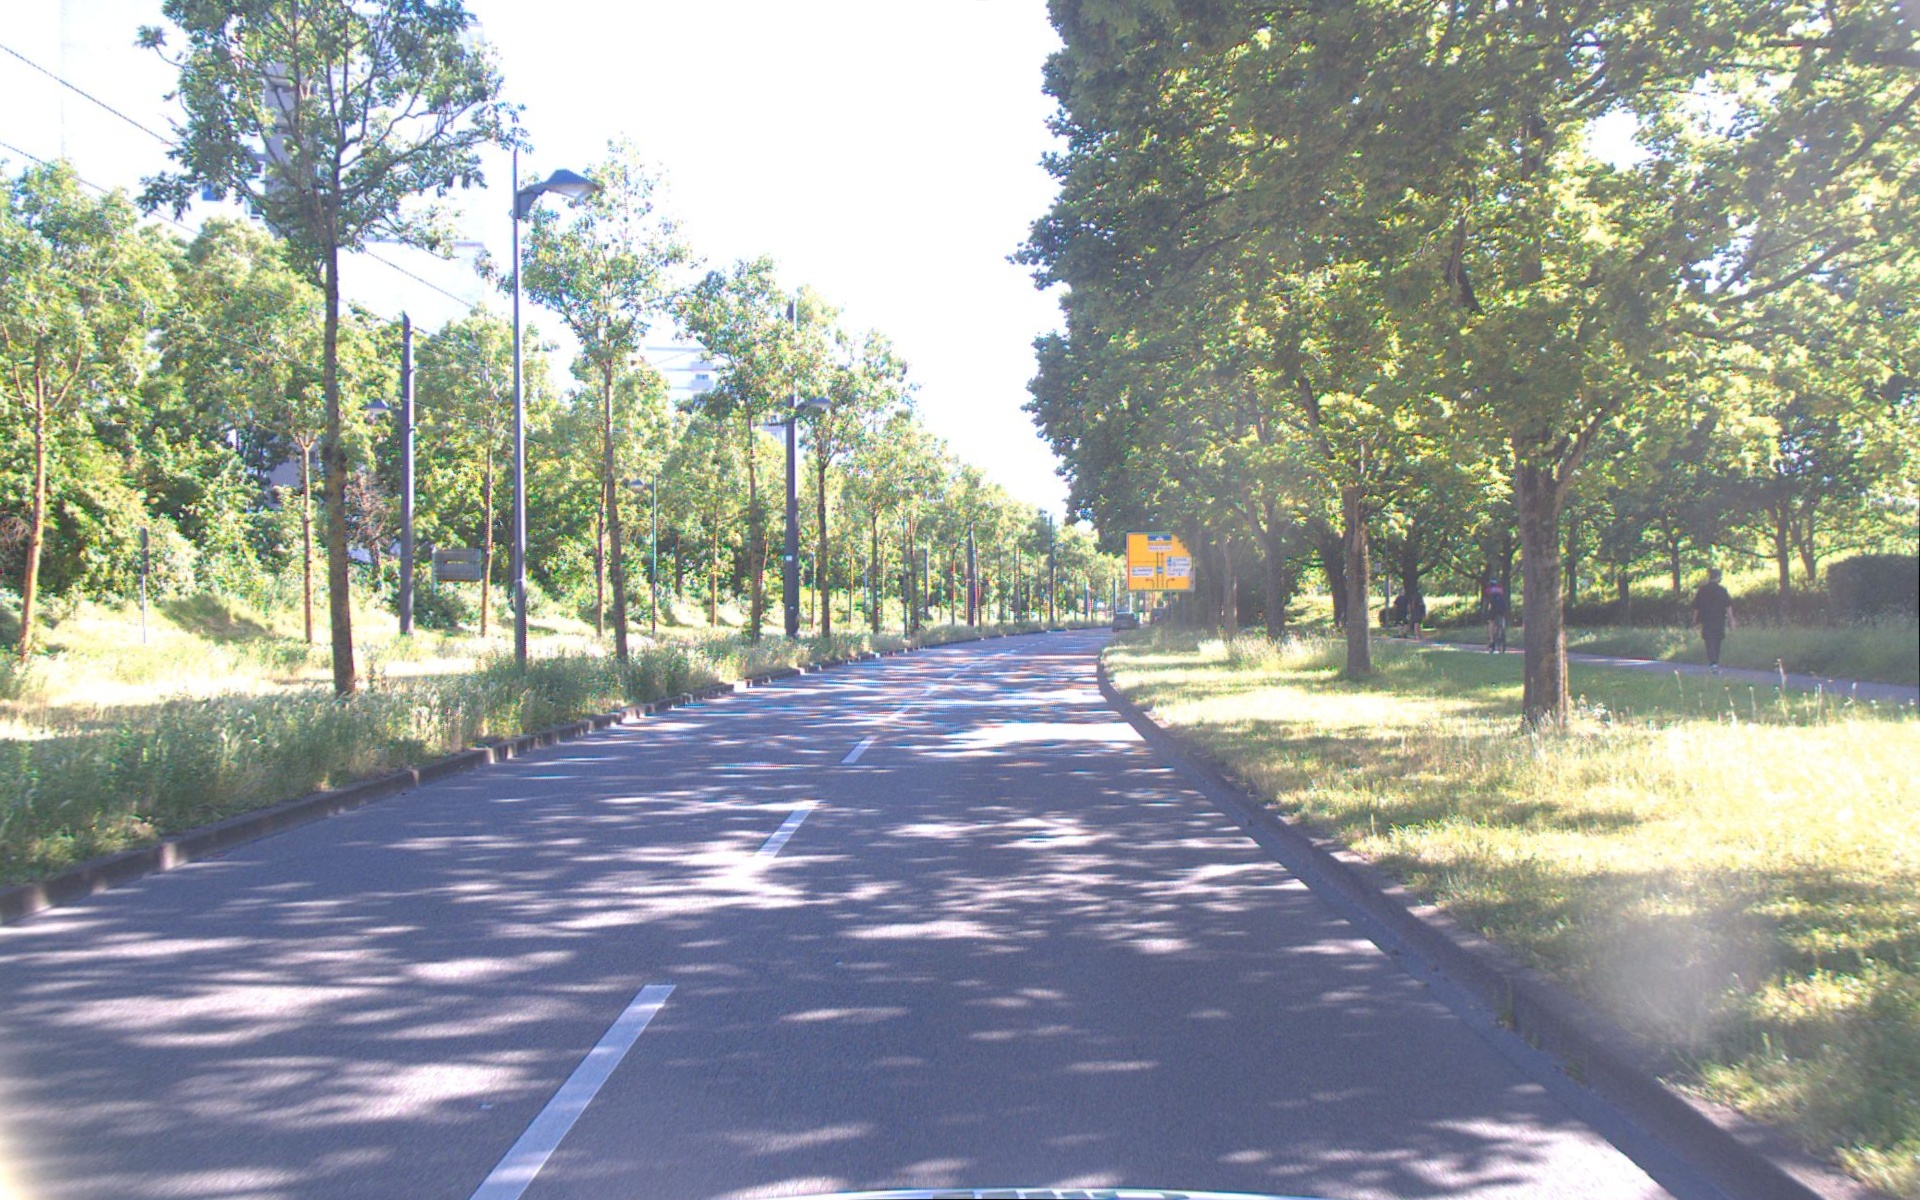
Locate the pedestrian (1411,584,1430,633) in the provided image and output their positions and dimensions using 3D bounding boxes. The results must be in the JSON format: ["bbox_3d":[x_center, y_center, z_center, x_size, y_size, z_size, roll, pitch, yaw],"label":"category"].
[{"bbox_3d":[16.437,0.288,58.977,0.622,1.721,0.844,-1,-1,16],"label":"pedestrian"}]

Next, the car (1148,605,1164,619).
[{"bbox_3d":[20.551,1.258,173.204,1.599,1.524,4.238,0,0,8],"label":"car"}]

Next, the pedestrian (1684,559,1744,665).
[{"bbox_3d":[13.156,0.208,28.874,0.700,1.835,0.794,0,0,3],"label":"pedestrian"}]

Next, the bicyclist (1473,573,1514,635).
[{"bbox_3d":[12.867,0.091,39.876,0.774,1.476,0.844,-1,-1,28],"label":"bicyclist"}]

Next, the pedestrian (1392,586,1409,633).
[{"bbox_3d":[15.787,0.339,59.267,0.535,1.650,0.844,-1,-1,16],"label":"pedestrian"}]

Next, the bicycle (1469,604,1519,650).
[{"bbox_3d":[12.885,0.639,39.884,0.779,1.065,2.139,-1,-1,28],"label":"bicycle"}]

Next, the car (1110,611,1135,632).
[{"bbox_3d":[11.945,1.583,121.594,1.599,1.524,4.238,0,0,8],"label":"car"}]
